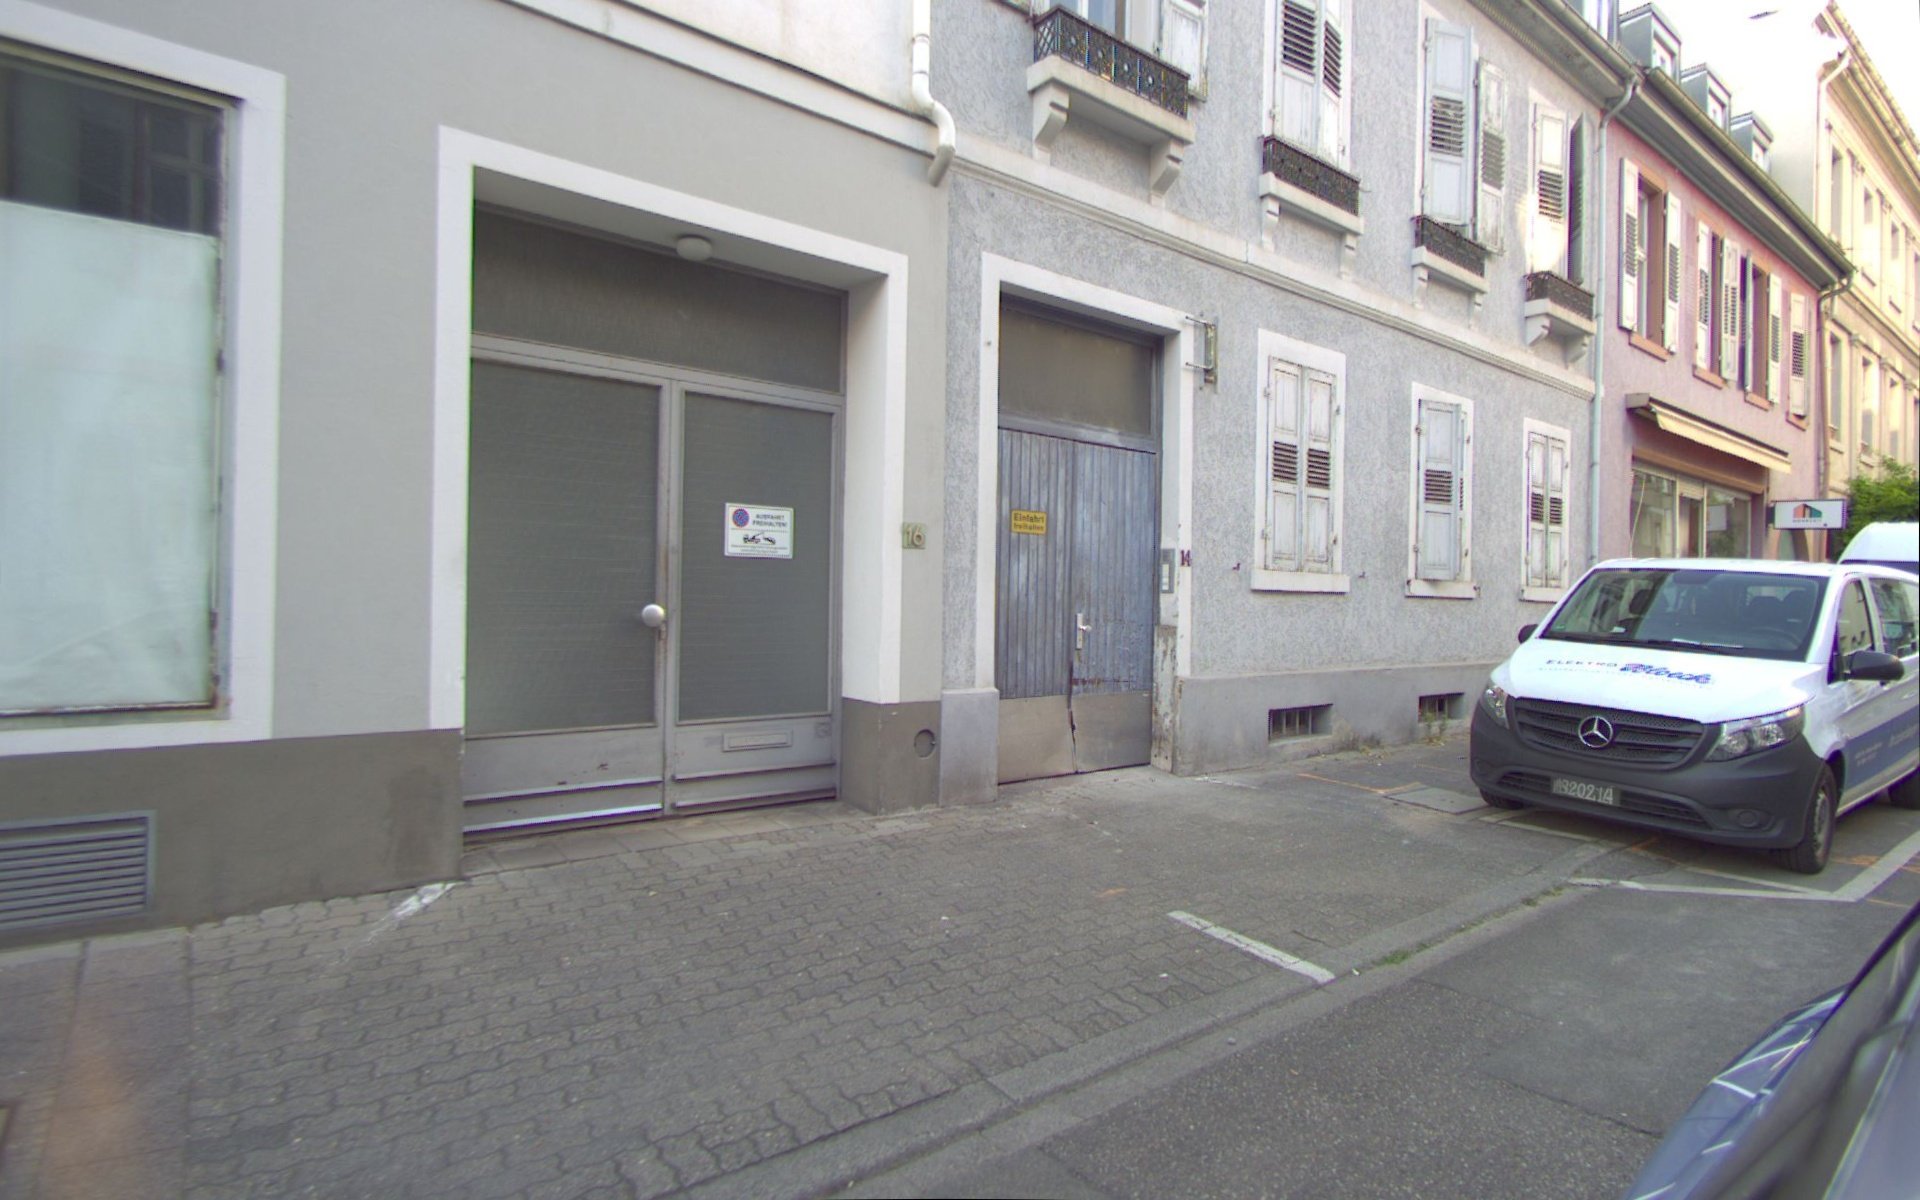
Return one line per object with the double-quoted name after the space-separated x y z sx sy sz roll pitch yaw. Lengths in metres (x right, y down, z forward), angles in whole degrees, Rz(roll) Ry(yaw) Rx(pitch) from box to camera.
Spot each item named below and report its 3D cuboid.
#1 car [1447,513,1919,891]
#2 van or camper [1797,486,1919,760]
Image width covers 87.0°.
5.906 0.471 7.534 5.220 1.917 1.947 0 4 -39 "car"
12.177 0.263 11.917 6.931 2.671 2.056 1 0 -37 "van or camper"
